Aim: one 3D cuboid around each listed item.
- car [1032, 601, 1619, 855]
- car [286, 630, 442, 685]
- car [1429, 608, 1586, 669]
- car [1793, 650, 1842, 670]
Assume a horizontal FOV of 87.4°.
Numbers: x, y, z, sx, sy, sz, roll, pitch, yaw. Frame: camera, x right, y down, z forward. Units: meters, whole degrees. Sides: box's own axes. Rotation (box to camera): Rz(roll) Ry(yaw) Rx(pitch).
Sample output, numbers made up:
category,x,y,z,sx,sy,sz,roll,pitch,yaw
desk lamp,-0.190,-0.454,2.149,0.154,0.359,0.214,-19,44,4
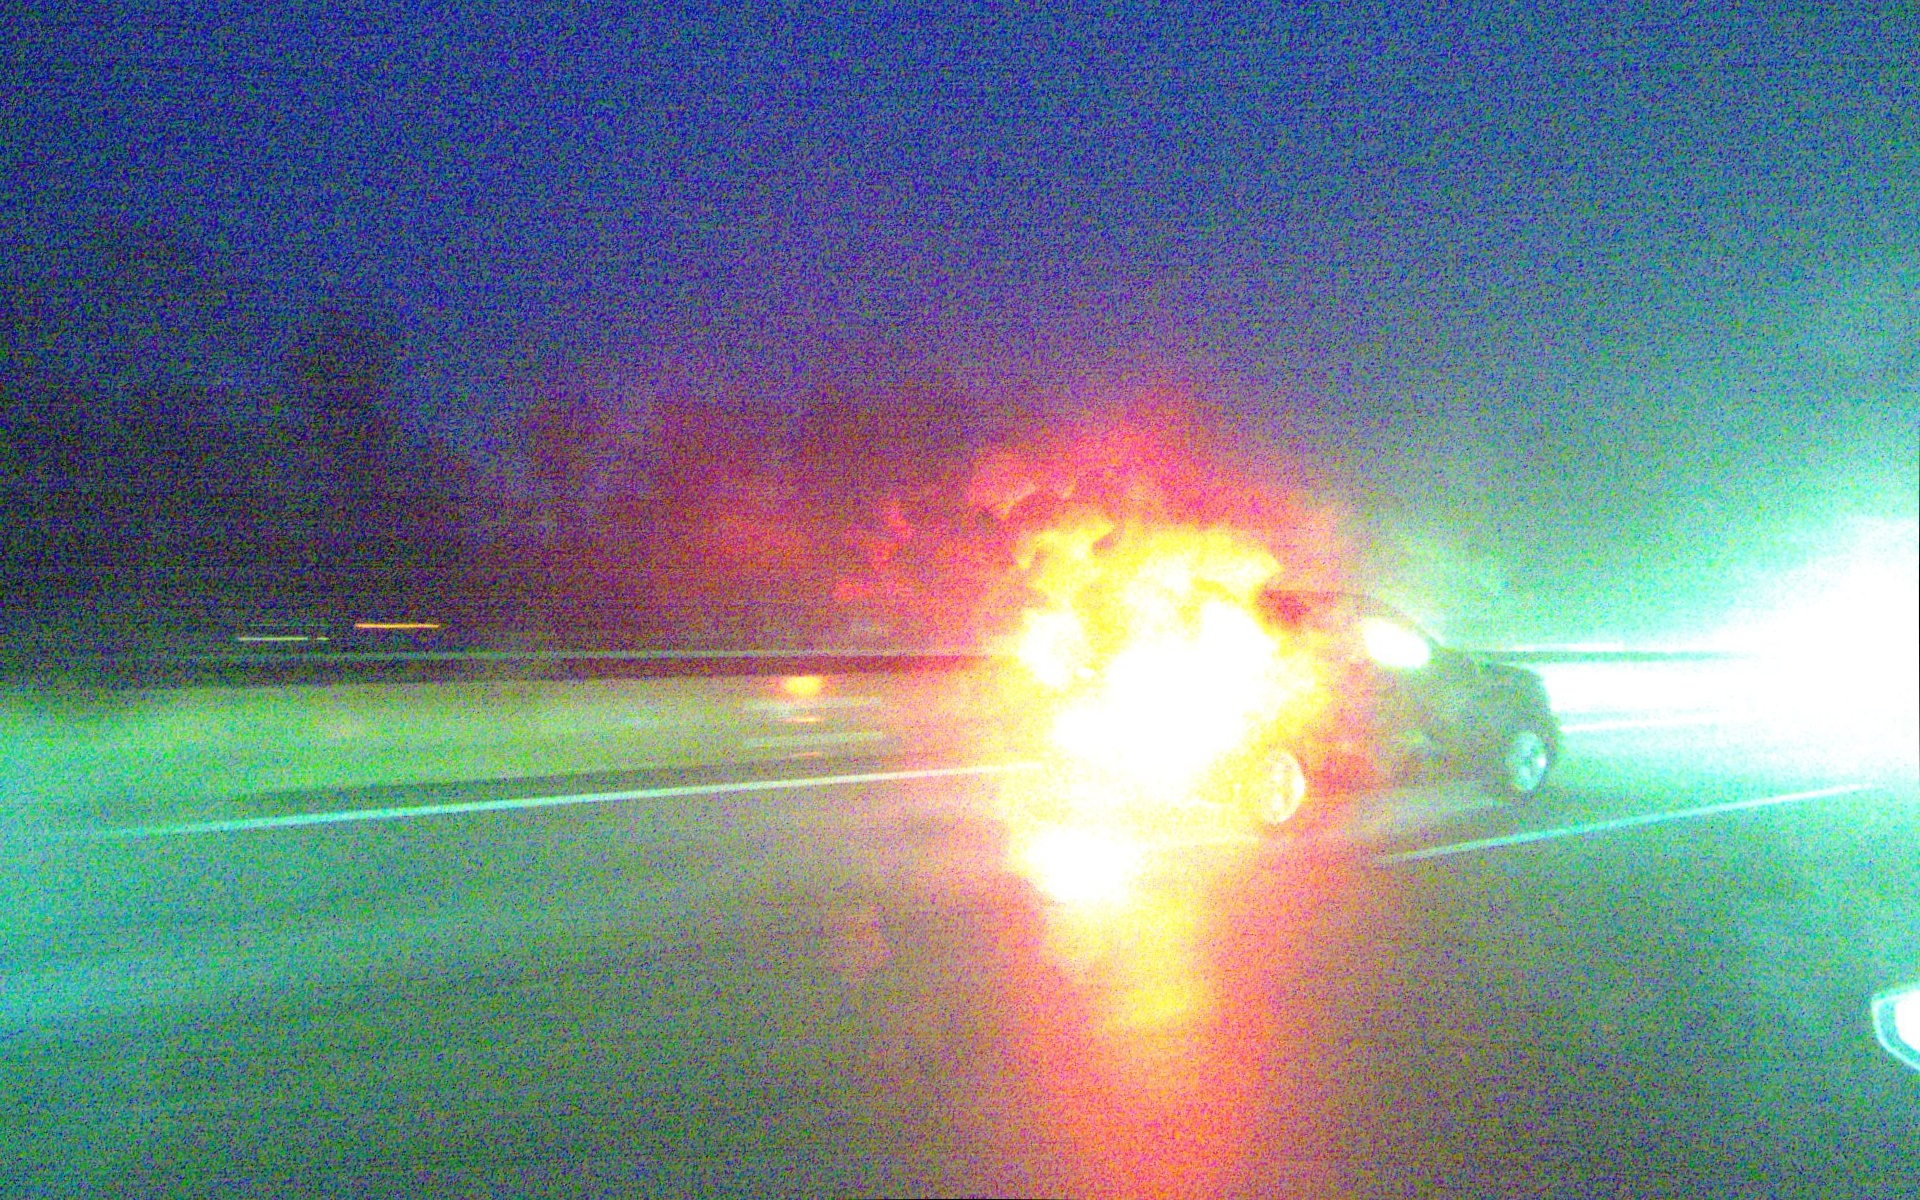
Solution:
category,x,y,z,sx,sy,sz,roll,pitch,yaw
car,3.057,0.827,8.173,4.691,1.561,1.851,1,0,-28
car,-20.923,1.991,35.487,4.506,1.795,1.988,1,0,-24
car,15.973,1.168,29.246,4.831,1.617,1.660,3,-4,-29
car,61.467,4.291,71.992,3.510,1.302,1.479,1,0,-28
